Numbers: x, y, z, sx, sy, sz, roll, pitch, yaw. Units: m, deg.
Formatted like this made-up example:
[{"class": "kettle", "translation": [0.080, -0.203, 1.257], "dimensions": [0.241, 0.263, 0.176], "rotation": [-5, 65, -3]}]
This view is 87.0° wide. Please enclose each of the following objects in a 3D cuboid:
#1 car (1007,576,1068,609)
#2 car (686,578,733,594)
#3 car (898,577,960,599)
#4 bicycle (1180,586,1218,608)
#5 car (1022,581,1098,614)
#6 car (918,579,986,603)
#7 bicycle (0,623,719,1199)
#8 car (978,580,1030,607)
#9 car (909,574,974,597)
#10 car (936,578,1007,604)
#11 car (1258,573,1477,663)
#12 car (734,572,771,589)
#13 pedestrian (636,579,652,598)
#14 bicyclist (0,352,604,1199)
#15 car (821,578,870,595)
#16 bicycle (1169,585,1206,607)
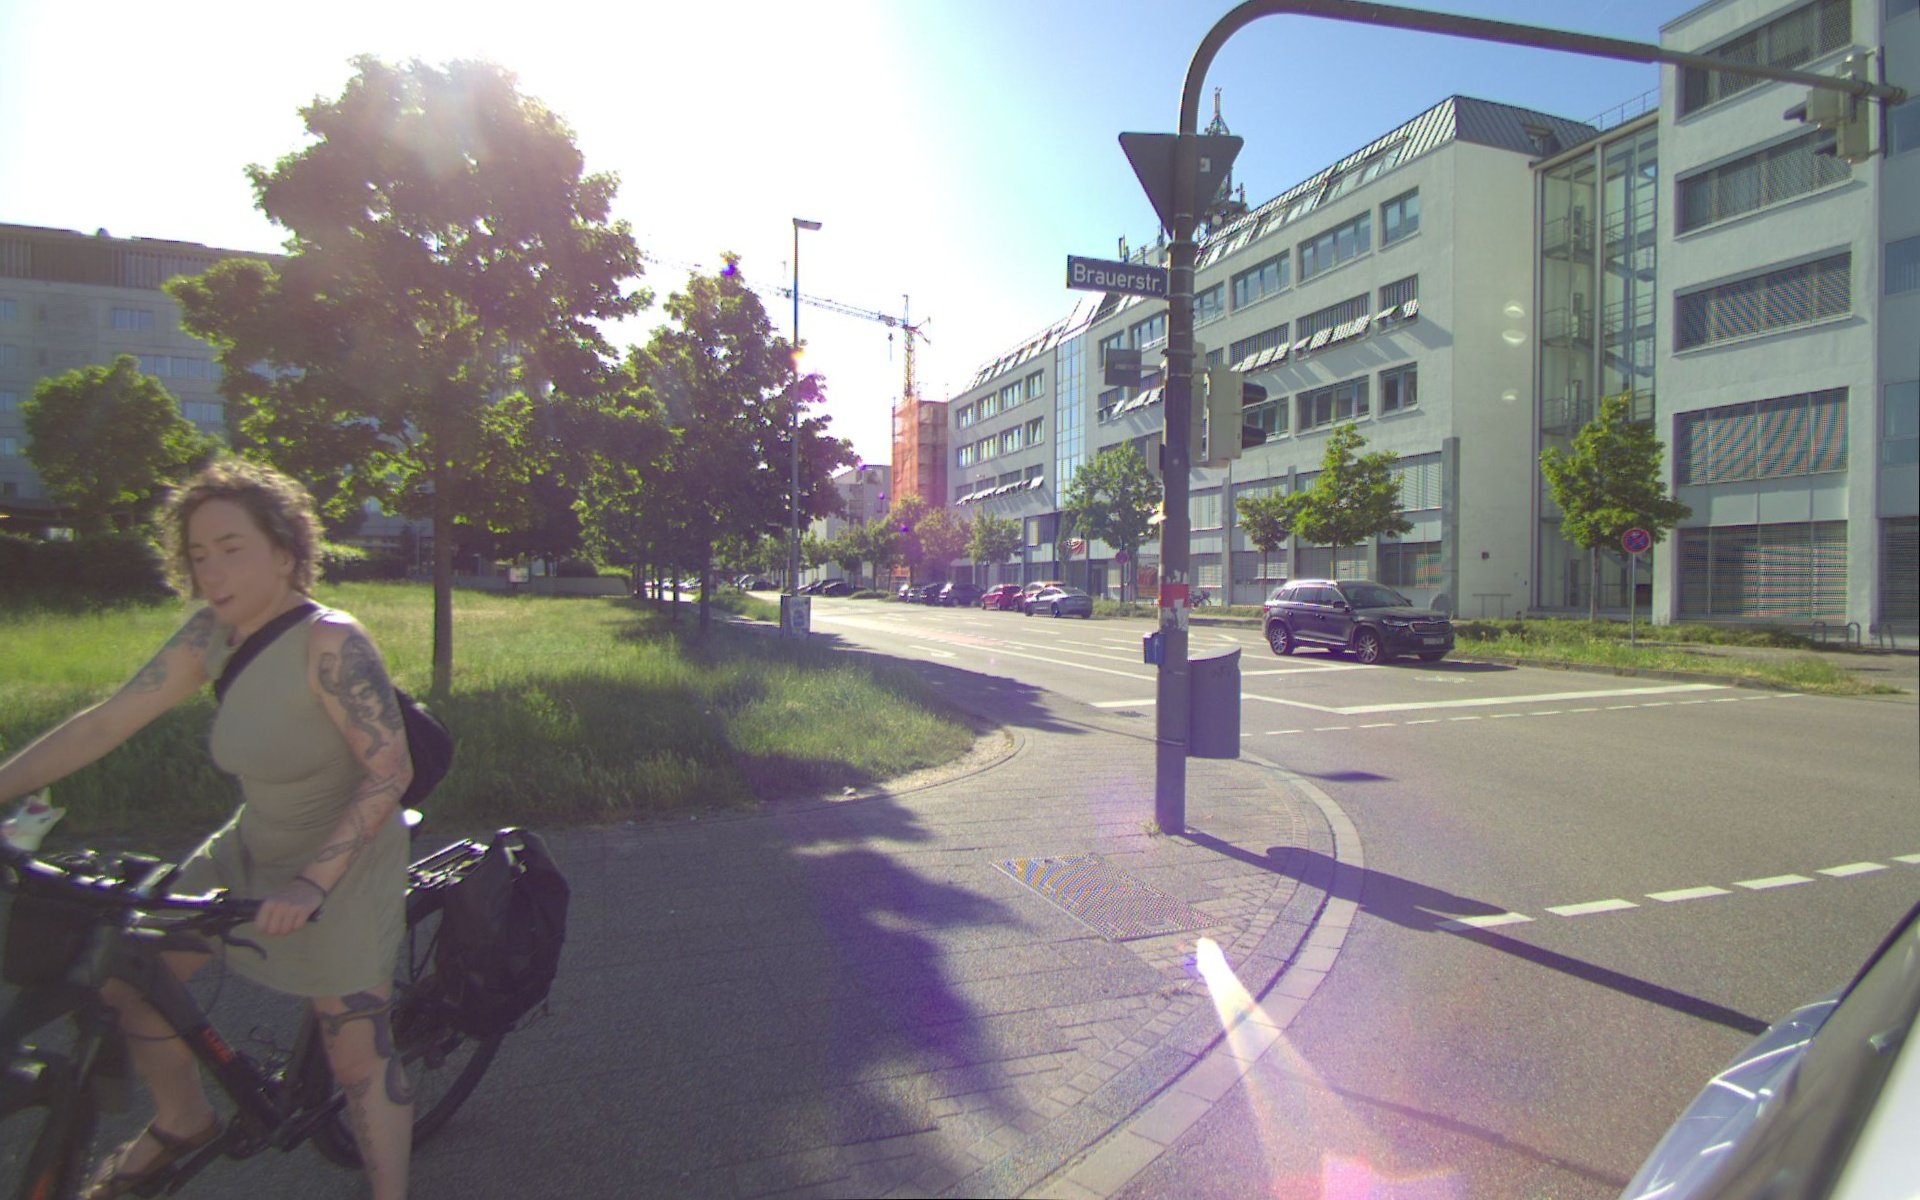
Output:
[{"class": "car", "translation": [4.131, -0.451, 54.591], "dimensions": [1.658, 1.627, 4.320], "rotation": [-2, 2, -19]}, {"class": "car", "translation": [-24.370, -1.348, 98.422], "dimensions": [4.323, 1.481, 1.899], "rotation": [1, 1, -19]}, {"class": "car", "translation": [-2.336, -0.910, 75.585], "dimensions": [4.308, 1.449, 1.697], "rotation": [-3, 2, -19]}, {"class": "bicycle", "translation": [11.885, -0.159, 50.336], "dimensions": [1.757, 1.082, 0.623], "rotation": [1, 0, -12]}, {"class": "car", "translation": [4.712, -0.141, 48.250], "dimensions": [1.658, 1.487, 4.556], "rotation": [1, 1, -22]}, {"class": "car", "translation": [-0.562, -0.618, 69.304], "dimensions": [4.309, 1.449, 1.697], "rotation": [-3, 2, -22]}, {"class": "bicycle", "translation": [-1.395, 0.772, 2.095], "dimensions": [0.782, 1.364, 2.067], "rotation": [1, 1, 18]}, {"class": "car", "translation": [2.541, -0.426, 59.212], "dimensions": [1.658, 1.449, 3.880], "rotation": [-3, 2, -19]}, {"class": "car", "translation": [-1.348, -1.052, 73.406], "dimensions": [4.308, 1.449, 1.697], "rotation": [-3, 2, -18]}, {"class": "car", "translation": [0.786, -0.608, 66.538], "dimensions": [4.309, 1.557, 1.697], "rotation": [-3, 2, -24]}, {"class": "car", "translation": [8.468, 0.285, 21.531], "dimensions": [1.723, 1.648, 4.488], "rotation": [-3, 2, -20]}, {"class": "car", "translation": [-32.751, -3.057, 159.662], "dimensions": [5.471, 2.513, 2.015], "rotation": [-3, 2, -17]}, {"class": "pedestrian", "translation": [-21.196, -0.796, 67.901], "dimensions": [0.830, 1.232, 0.729], "rotation": [1, 0, -32]}, {"class": "bicyclist", "translation": [-1.416, 0.574, 2.044], "dimensions": [0.782, 1.847, 1.129], "rotation": [1, 0, 18]}, {"class": "car", "translation": [-11.061, -1.281, 98.016], "dimensions": [4.309, 1.449, 1.981], "rotation": [-3, 2, -23]}, {"class": "bicycle", "translation": [11.460, -0.217, 51.008], "dimensions": [1.736, 1.082, 0.557], "rotation": [1, 0, -12]}]
